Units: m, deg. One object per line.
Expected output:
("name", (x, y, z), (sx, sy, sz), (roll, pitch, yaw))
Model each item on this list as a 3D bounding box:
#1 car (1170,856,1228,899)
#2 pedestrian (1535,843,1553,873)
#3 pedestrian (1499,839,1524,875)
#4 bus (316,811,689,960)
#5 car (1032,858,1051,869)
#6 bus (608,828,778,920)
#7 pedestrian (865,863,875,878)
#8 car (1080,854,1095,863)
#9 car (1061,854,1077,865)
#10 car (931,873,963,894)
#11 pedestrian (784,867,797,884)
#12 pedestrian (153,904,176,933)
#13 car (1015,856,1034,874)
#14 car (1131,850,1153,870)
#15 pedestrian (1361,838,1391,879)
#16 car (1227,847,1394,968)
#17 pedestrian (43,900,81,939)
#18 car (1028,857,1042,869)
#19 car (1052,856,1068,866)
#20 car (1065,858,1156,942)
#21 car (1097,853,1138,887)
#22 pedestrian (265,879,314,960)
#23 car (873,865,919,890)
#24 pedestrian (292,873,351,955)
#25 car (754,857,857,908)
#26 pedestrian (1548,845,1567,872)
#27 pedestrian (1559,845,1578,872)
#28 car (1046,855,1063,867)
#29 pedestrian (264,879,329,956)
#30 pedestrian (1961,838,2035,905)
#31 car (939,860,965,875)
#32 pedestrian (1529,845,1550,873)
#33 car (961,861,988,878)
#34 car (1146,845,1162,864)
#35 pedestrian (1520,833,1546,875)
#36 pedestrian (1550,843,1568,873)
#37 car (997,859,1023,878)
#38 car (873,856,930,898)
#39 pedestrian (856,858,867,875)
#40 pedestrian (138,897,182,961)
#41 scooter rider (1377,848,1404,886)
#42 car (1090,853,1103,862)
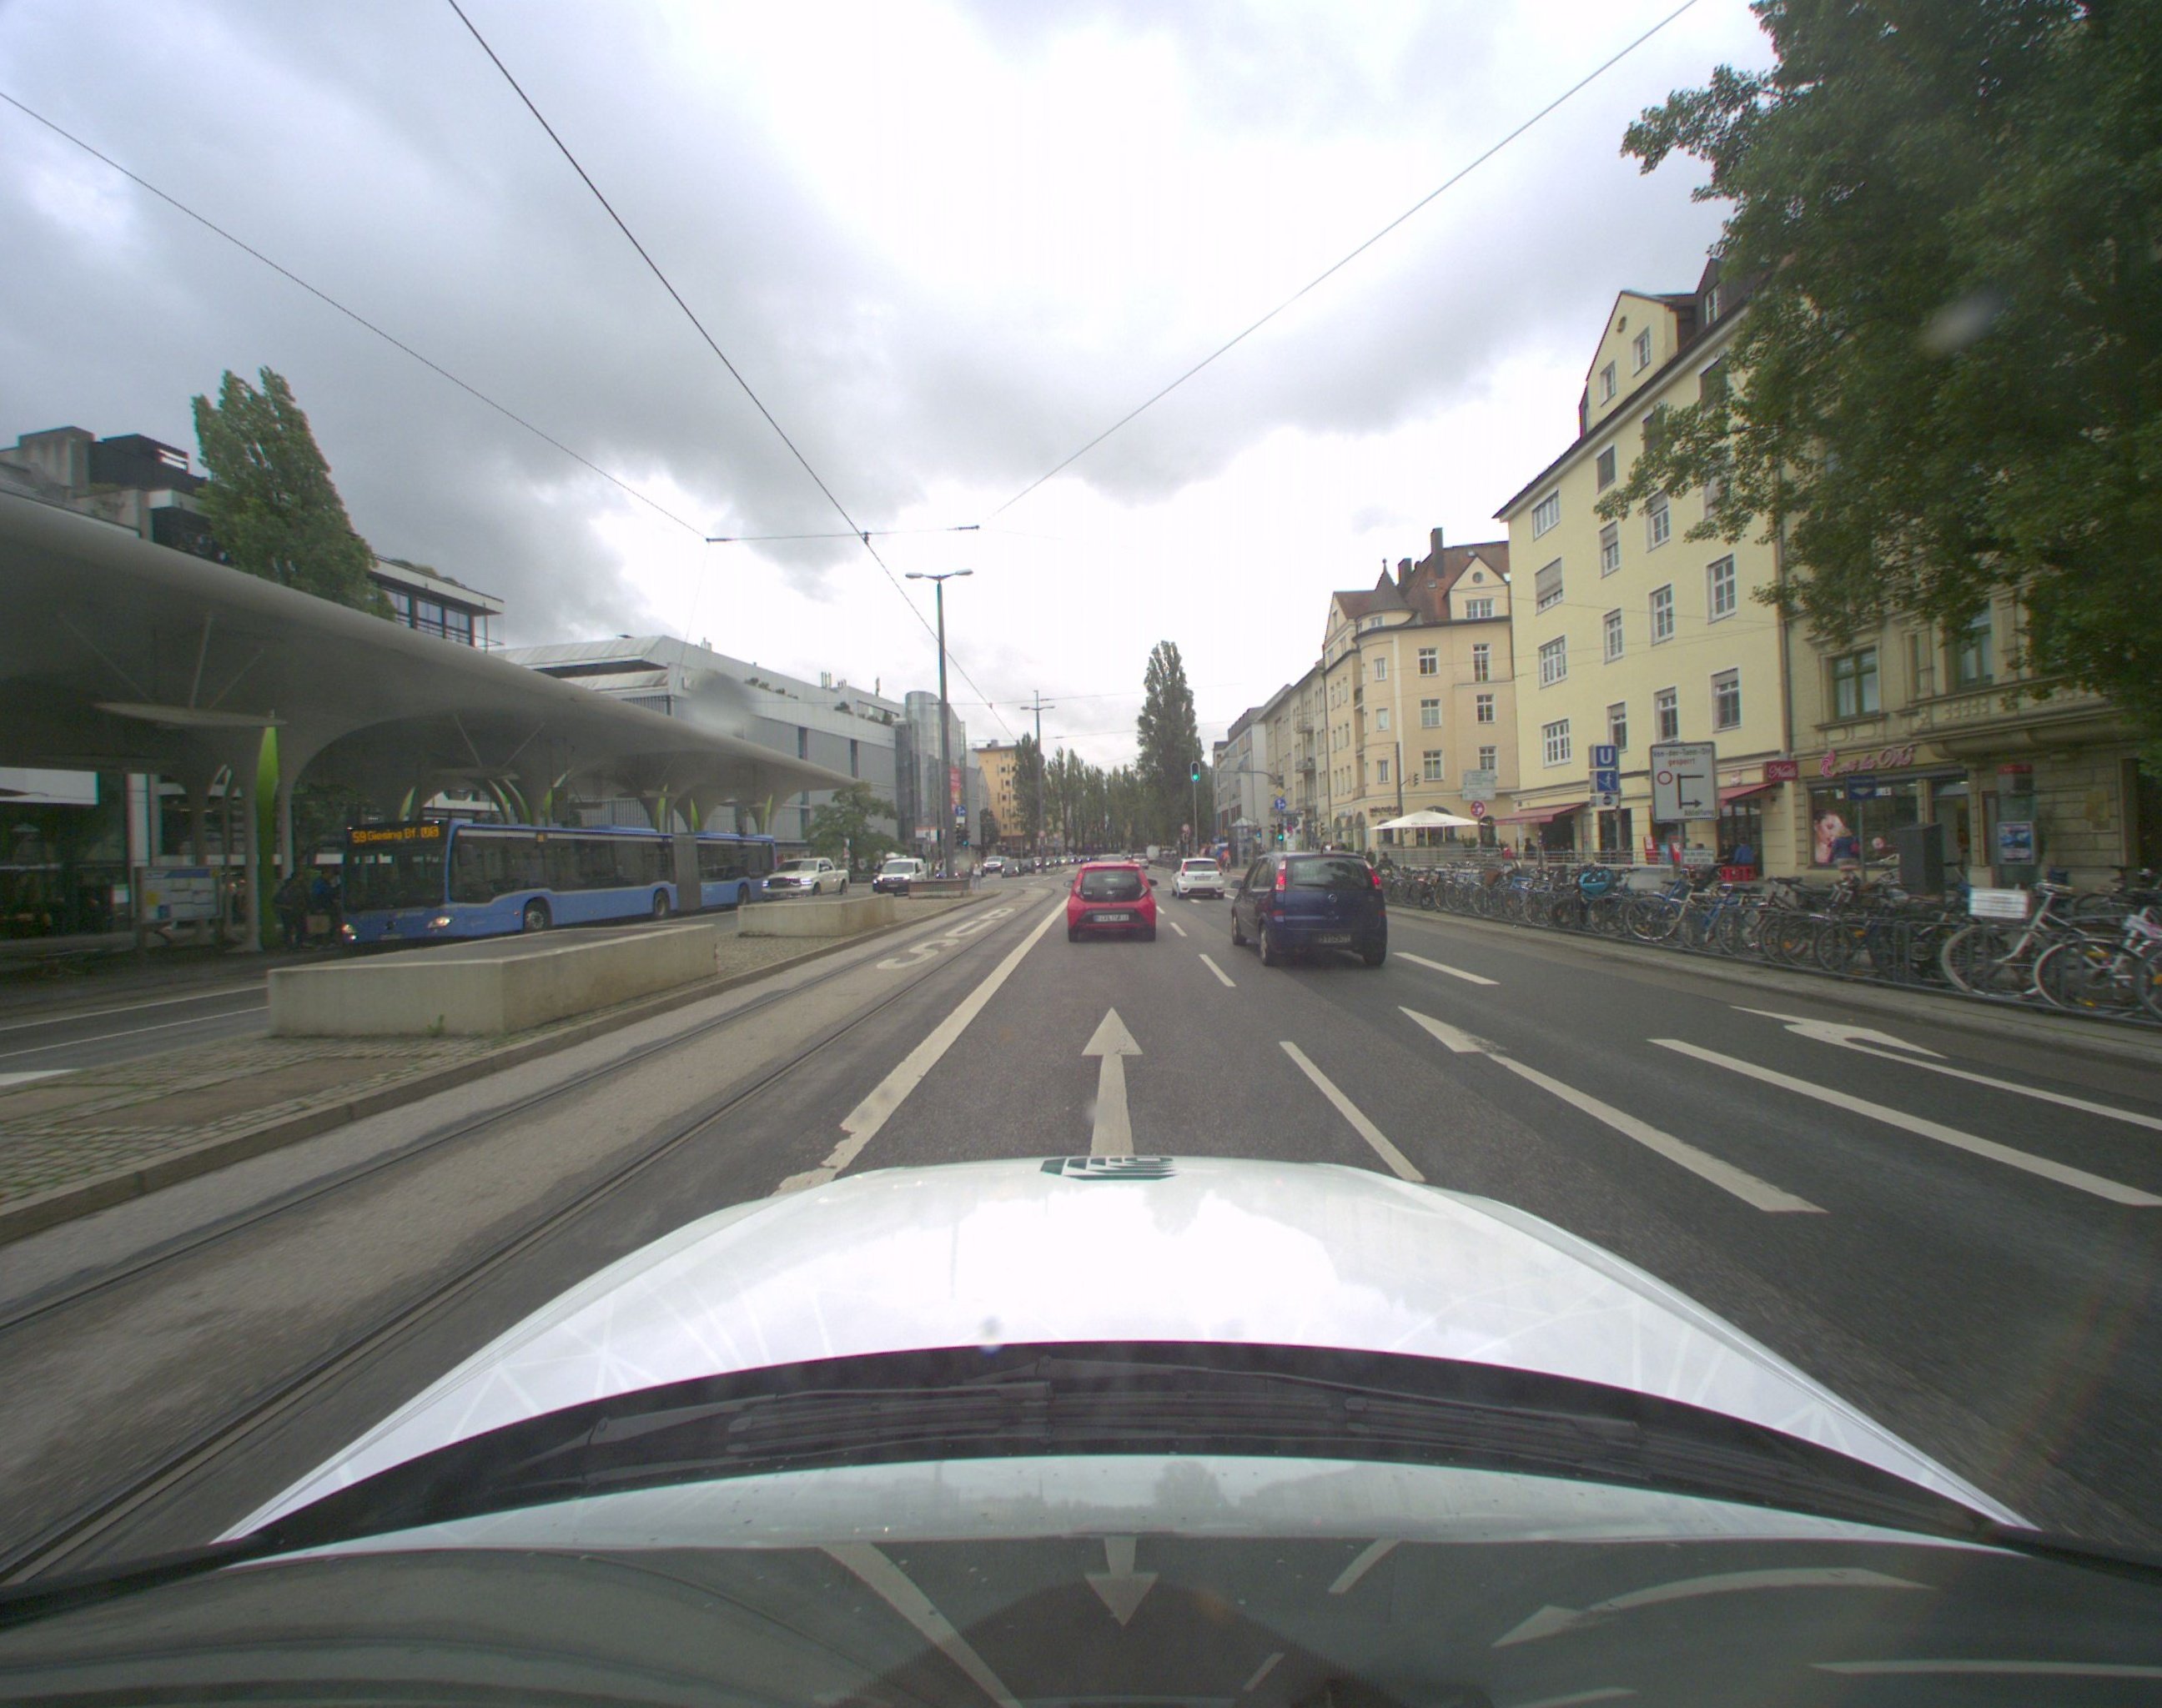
("car", (4.274, 0.820, 30.033), (1.693, 1.426, 3.498), (-2, 0, 2))
("pedestrian", (20.574, 0.186, 36.207), (0.476, 1.299, 0.527), (-2, 0, 0))
("pedestrian", (17.591, 0.113, 33.266), (0.673, 1.422, 0.617), (-2, 0, 2))
("bus", (-14.920, 0.691, 22.704), (2.651, 3.007, 10.515), (-4, 0, 0))
("car", (-5.407, 1.264, 113.008), (1.983, 1.412, 4.175), (-2, 0, 6))
("bus", (-14.732, 0.689, 31.745), (2.650, 3.007, 7.516), (-4, 0, 2))
("pedestrian", (-20.846, 1.609, 80.465), (0.754, 1.493, 0.765), (-2, 0, -33))
("car", (1.265, 0.824, 155.428), (1.980, 1.534, 4.603), (-2, 0, 12))
("car", (-2.130, 0.986, 141.482), (1.924, 1.738, 4.601), (-1, 0, 10))
("car", (-10.289, 2.220, 62.670), (1.672, 1.395, 4.232), (-3, 0, 0))
("pedestrian", (-27.952, 2.091, 78.375), (0.791, 1.581, 0.980), (-2, 0, 13))
("pedestrian", (-44.758, 3.154, 39.770), (0.507, 1.333, 0.580), (-2, 0, 21))
("car", (-5.132, 0.968, 73.856), (1.501, 1.534, 2.831), (-2, 0, -6))
("car", (6.216, 0.606, 83.486), (1.986, 1.838, 4.002), (-2, 0, 2))
("pedestrian", (13.064, 0.207, 36.112), (0.882, 1.743, 0.854), (-2, 0, -14))
("car", (3.336, 0.703, 12.494), (1.696, 1.589, 3.558), (0, 0, 2))
("pedestrian", (-45.806, 2.946, 36.614), (0.775, 1.661, 0.777), (-2, 0, 11))
("car", (-7.086, 1.363, 124.856), (1.691, 1.596, 4.003), (-2, 0, 3))
("car", (-3.412, 1.147, 132.010), (1.755, 1.421, 4.650), (-2, 0, 8))
("car", (0.616, 0.820, 15.988), (1.598, 1.461, 3.132), (-1, 0, 3))
("car", (1.885, 0.823, 42.900), (1.986, 1.618, 4.002), (-2, 0, 2))
("pedestrian", (-17.672, 1.441, 18.194), (0.504, 1.734, 0.571), (-2, 0, -7))
("car", (-11.393, 1.406, 50.464), (1.667, 1.378, 4.614), (-2, 0, 1))
("pedestrian", (-16.876, 1.322, 18.111), (0.564, 1.743, 0.754), (-3, 0, -7))
("car", (-11.387, 1.098, 34.228), (2.168, 1.887, 6.156), (-2, 0, 0))
("pedestrian", (20.576, 0.186, 35.187), (0.476, 1.166, 0.527), (-2, 0, 0))
("pedestrian", (21.106, 0.185, 35.244), (0.476, 1.166, 0.527), (-2, 0, 0))
("car", (-3.906, 1.005, 122.710), (1.734, 1.670, 4.742), (-3, 0, 7))
("pedestrian", (-18.422, 1.468, 19.148), (0.714, 1.722, 0.877), (-2, 0, -14))
("pedestrian", (17.326, 0.331, 15.398), (0.598, 1.222, 0.666), (-2, 0, 2))
("car", (-14.330, 1.468, 90.393), (1.893, 1.543, 4.396), (-2, 0, 3))
("pedestrian", (21.076, 0.232, 37.455), (0.512, 1.292, 0.703), (-2, 0, 0))
("car", (-9.778, 1.396, 75.121), (1.836, 1.416, 4.037), (-2, 0, 2))
("car", (10.768, 0.105, 120.207), (2.098, 2.718, 4.808), (-2, 0, 3))
("pedestrian", (18.066, 0.008, 32.590), (0.612, 1.632, 0.678), (-2, 0, 2))
("pedestrian", (21.283, 0.185, 36.254), (0.476, 1.299, 0.527), (-2, 0, 0))
("car", (-6.050, 1.207, 68.848), (1.548, 1.445, 3.520), (-2, 0, -16))
("car", (-8.752, 1.076, 40.009), (1.780, 1.855, 4.217), (-3, 0, 0))
("pedestrian", (-22.172, 1.229, 82.182), (0.791, 1.687, 0.853), (-2, 0, -33))
("pedestrian", (-30.824, 2.489, 27.251), (0.664, 2.013, 0.913), (-2, -1, 38))
("scooter rider", (11.534, 0.473, 30.377), (0.698, 1.389, 0.643), (-2, 0, 0))
("car", (3.251, 0.692, 165.135), (1.982, 1.691, 4.932), (-3, 0, 8))
